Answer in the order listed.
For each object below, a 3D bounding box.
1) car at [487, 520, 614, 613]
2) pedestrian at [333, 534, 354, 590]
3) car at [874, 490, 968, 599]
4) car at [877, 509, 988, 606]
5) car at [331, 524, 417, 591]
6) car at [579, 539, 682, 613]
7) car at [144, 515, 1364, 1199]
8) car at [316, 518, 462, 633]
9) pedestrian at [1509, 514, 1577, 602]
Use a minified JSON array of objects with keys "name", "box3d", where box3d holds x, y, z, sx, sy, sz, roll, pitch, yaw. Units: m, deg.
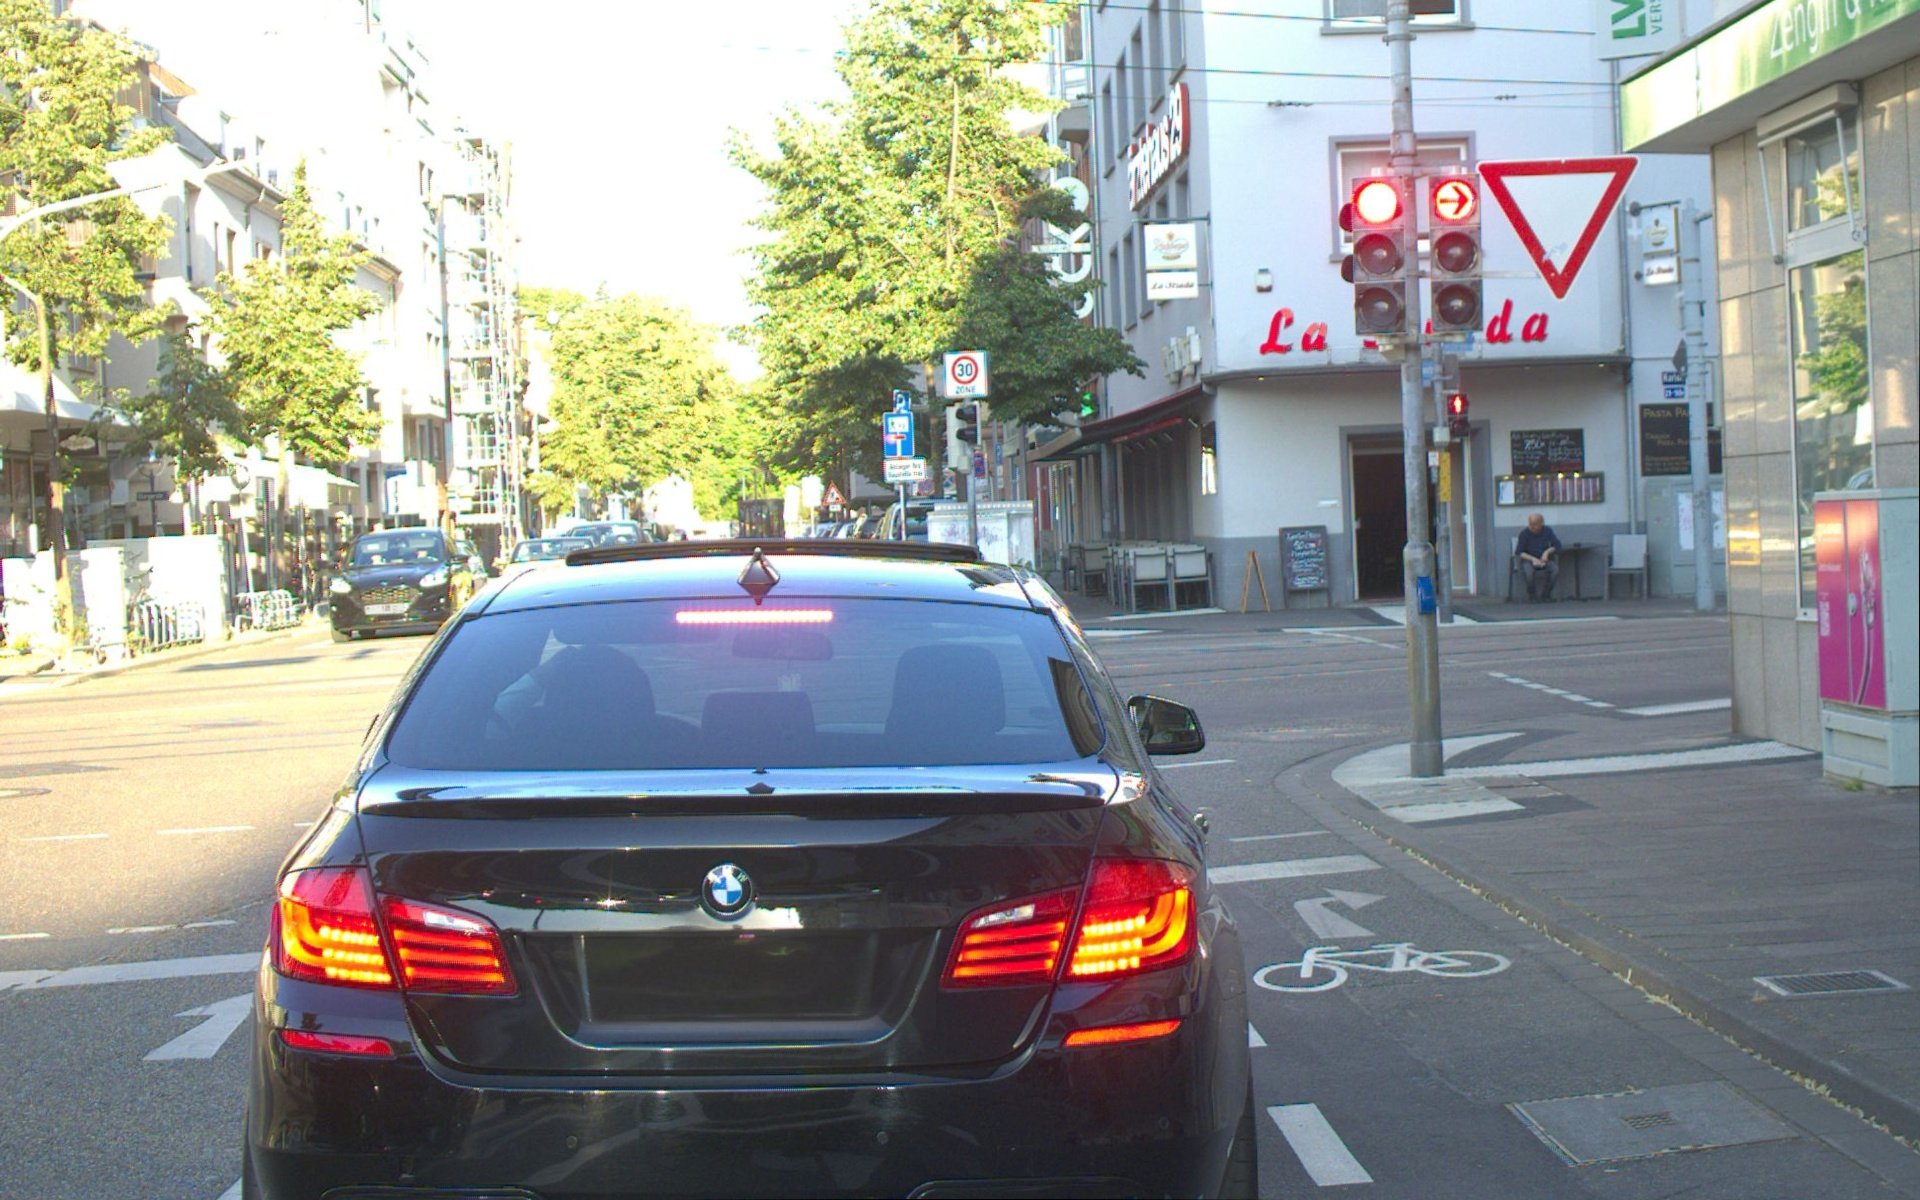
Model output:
[{"name":"car","box3d":[-6.884,-0.586,57.671,1.993,1.437,4.001,-2,1,-7]},{"name":"pedestrian","box3d":[-15.926,-0.982,88.815,0.444,1.411,0.525,-2,1,-4]},{"name":"car","box3d":[-0.711,-0.981,60.993,1.421,1.848,3.053,-1,1,-5]},{"name":"car","box3d":[-0.461,-0.681,54.597,1.625,1.466,3.395,-1,1,-2]},{"name":"car","box3d":[-13.442,-0.992,79.016,1.733,1.456,4.001,-2,1,-7]},{"name":"car","box3d":[-6.208,-0.473,64.443,1.733,1.288,4.001,-2,1,-7]},{"name":"car","box3d":[-0.435,0.597,7.649,1.903,1.535,4.450,1,1,-3]},{"name":"car","box3d":[-8.627,-0.396,52.236,1.993,1.612,4.001,-2,1,-7]},{"name":"pedestrian","box3d":[7.850,-0.572,46.315,0.697,1.153,0.844,-2,1,-3]}]
